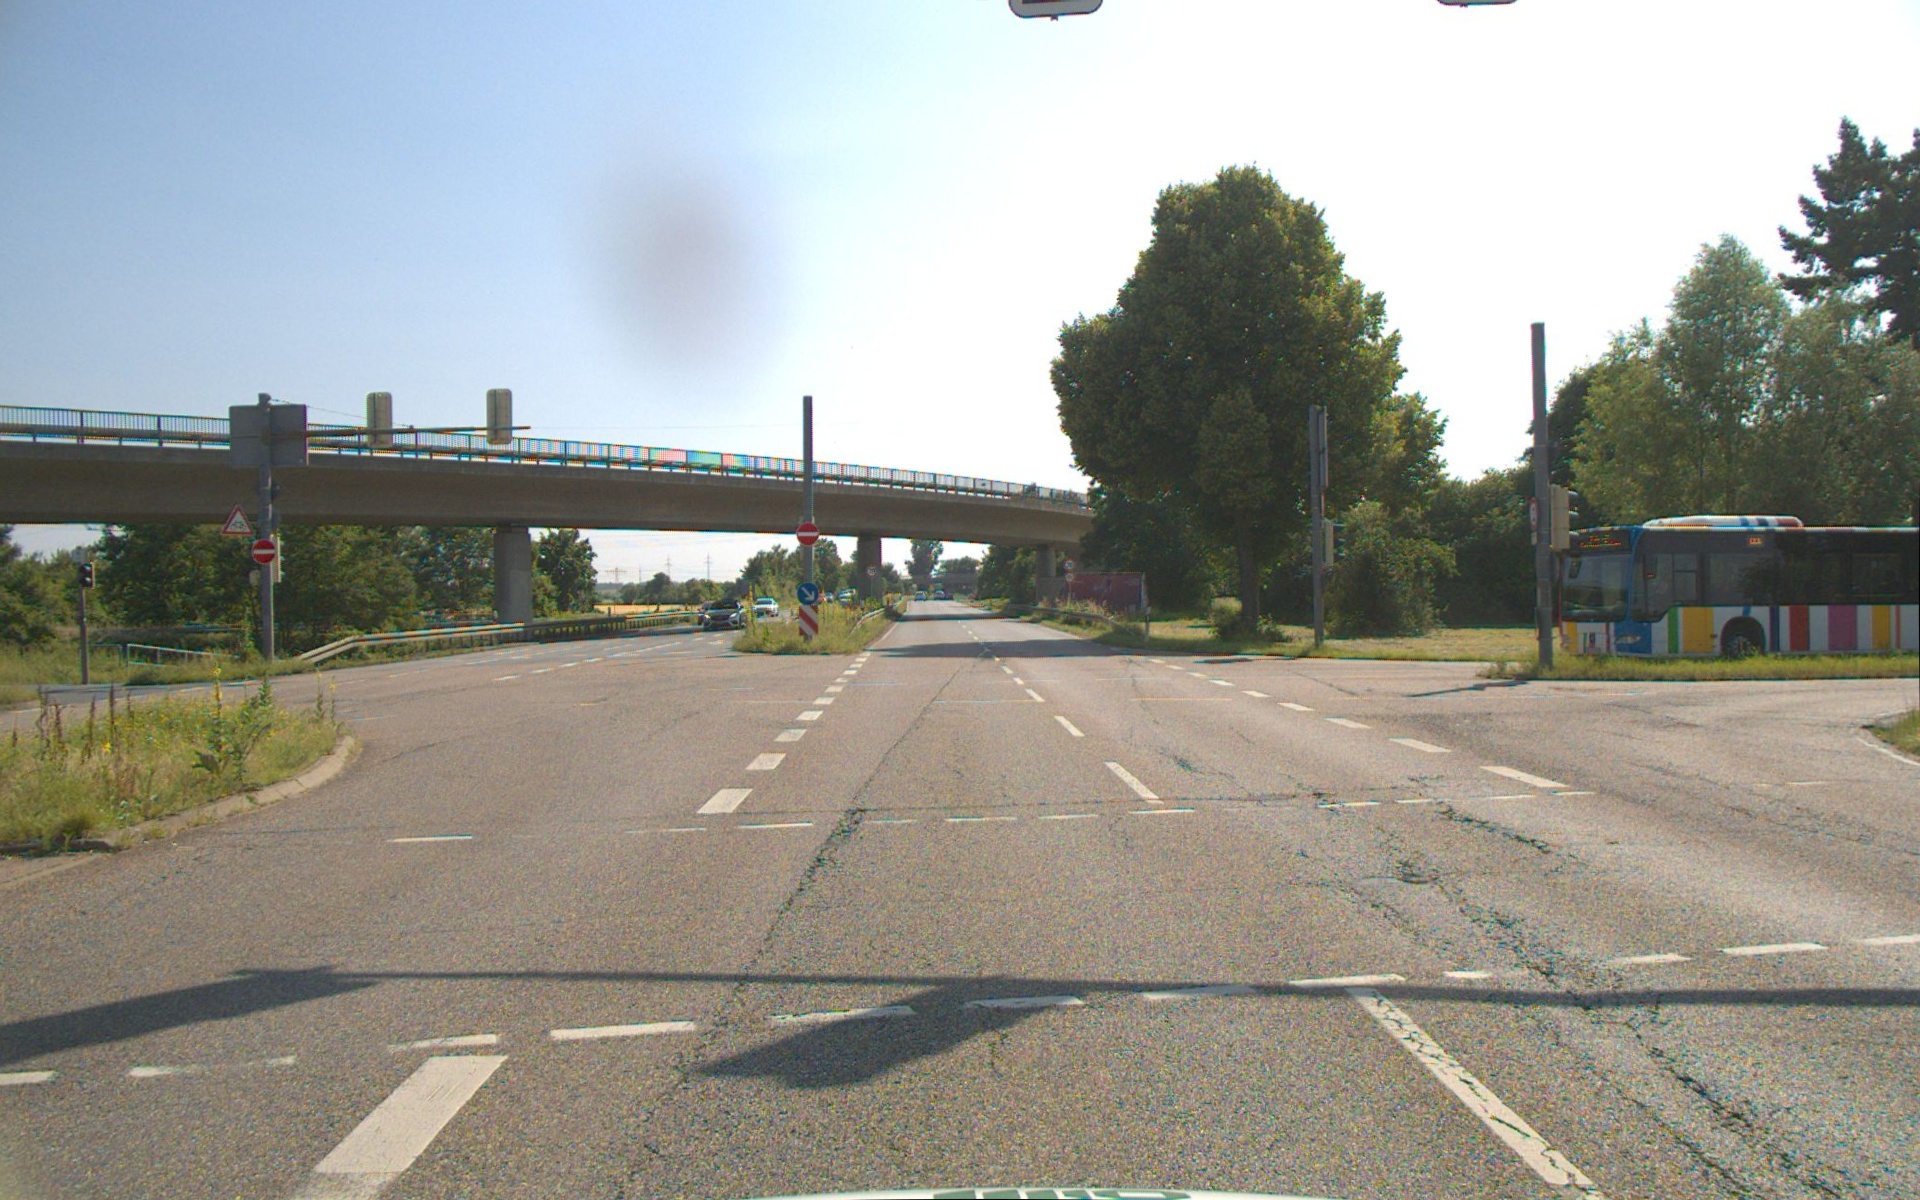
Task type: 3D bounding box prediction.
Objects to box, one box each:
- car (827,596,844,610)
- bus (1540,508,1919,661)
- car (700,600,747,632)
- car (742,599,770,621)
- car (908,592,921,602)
[{"bbox_3d":[-13.812,0.341,183.549,1.525,1.567,3.999,-2,0,-1],"label":"car"},{"bbox_3d":[18.455,-0.416,35.613,11.745,2.927,2.929,-2,0,-16],"label":"bus"},{"bbox_3d":[-11.903,0.799,83.527,1.819,1.473,4.239,-3,0,-2],"label":"car"},{"bbox_3d":[-15.833,0.785,128.558,1.754,1.656,3.998,-2,0,-2],"label":"car"},{"bbox_3d":[-7.168,-0.543,261.996,1.813,1.486,4.000,-3,0,0],"label":"car"}]
